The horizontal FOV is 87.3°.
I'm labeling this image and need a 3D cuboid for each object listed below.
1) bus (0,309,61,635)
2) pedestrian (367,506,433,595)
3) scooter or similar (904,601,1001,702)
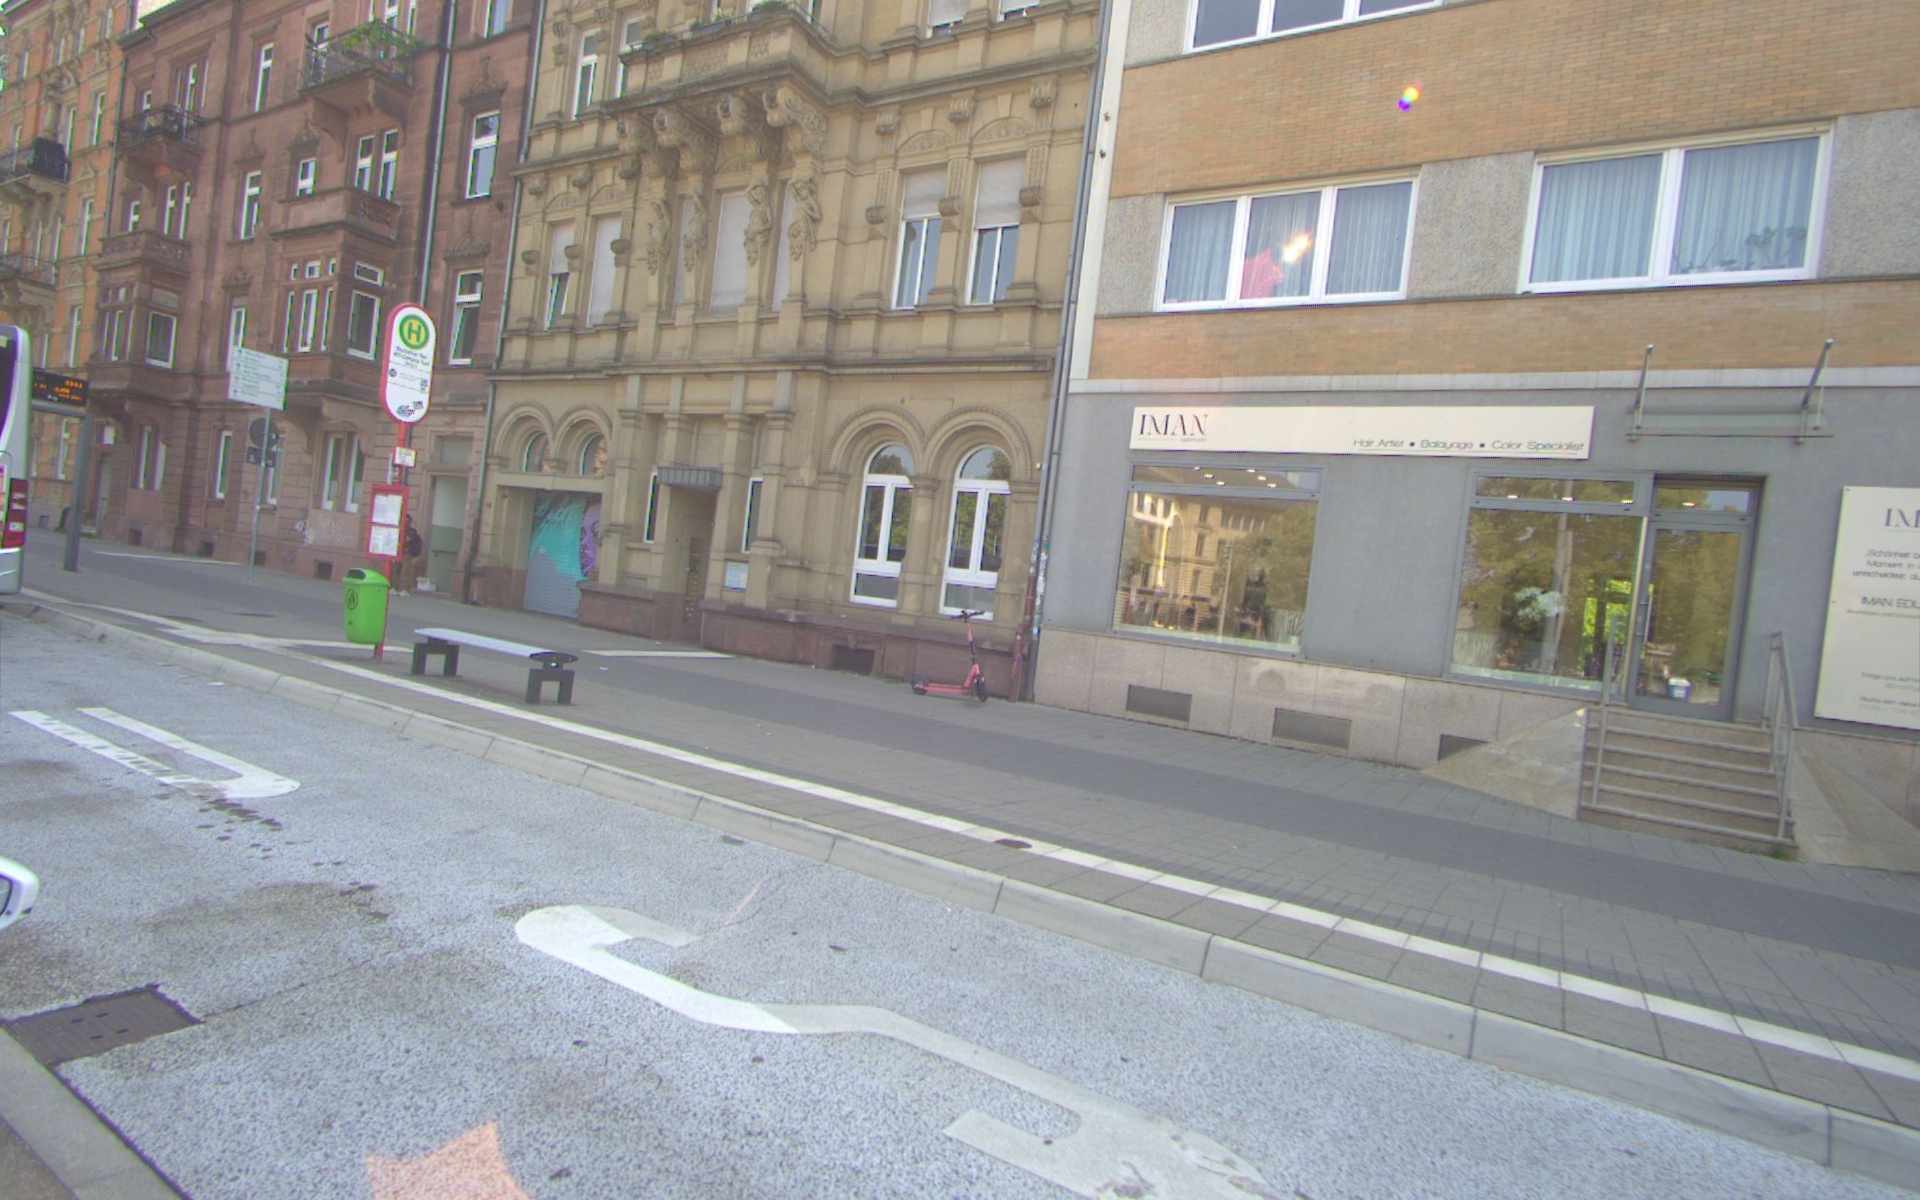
[{"bbox_3d":[-14.749,-1.823,12.169,11.760,3.149,2.742,7,3,33],"label":"bus"},{"bbox_3d":[-12.110,-1.049,21.761,0.729,1.800,0.870,7,1,4],"label":"pedestrian"},{"bbox_3d":[-0.104,0.703,13.807,1.122,1.228,0.476,7,1,26],"label":"scooter or similar"}]
